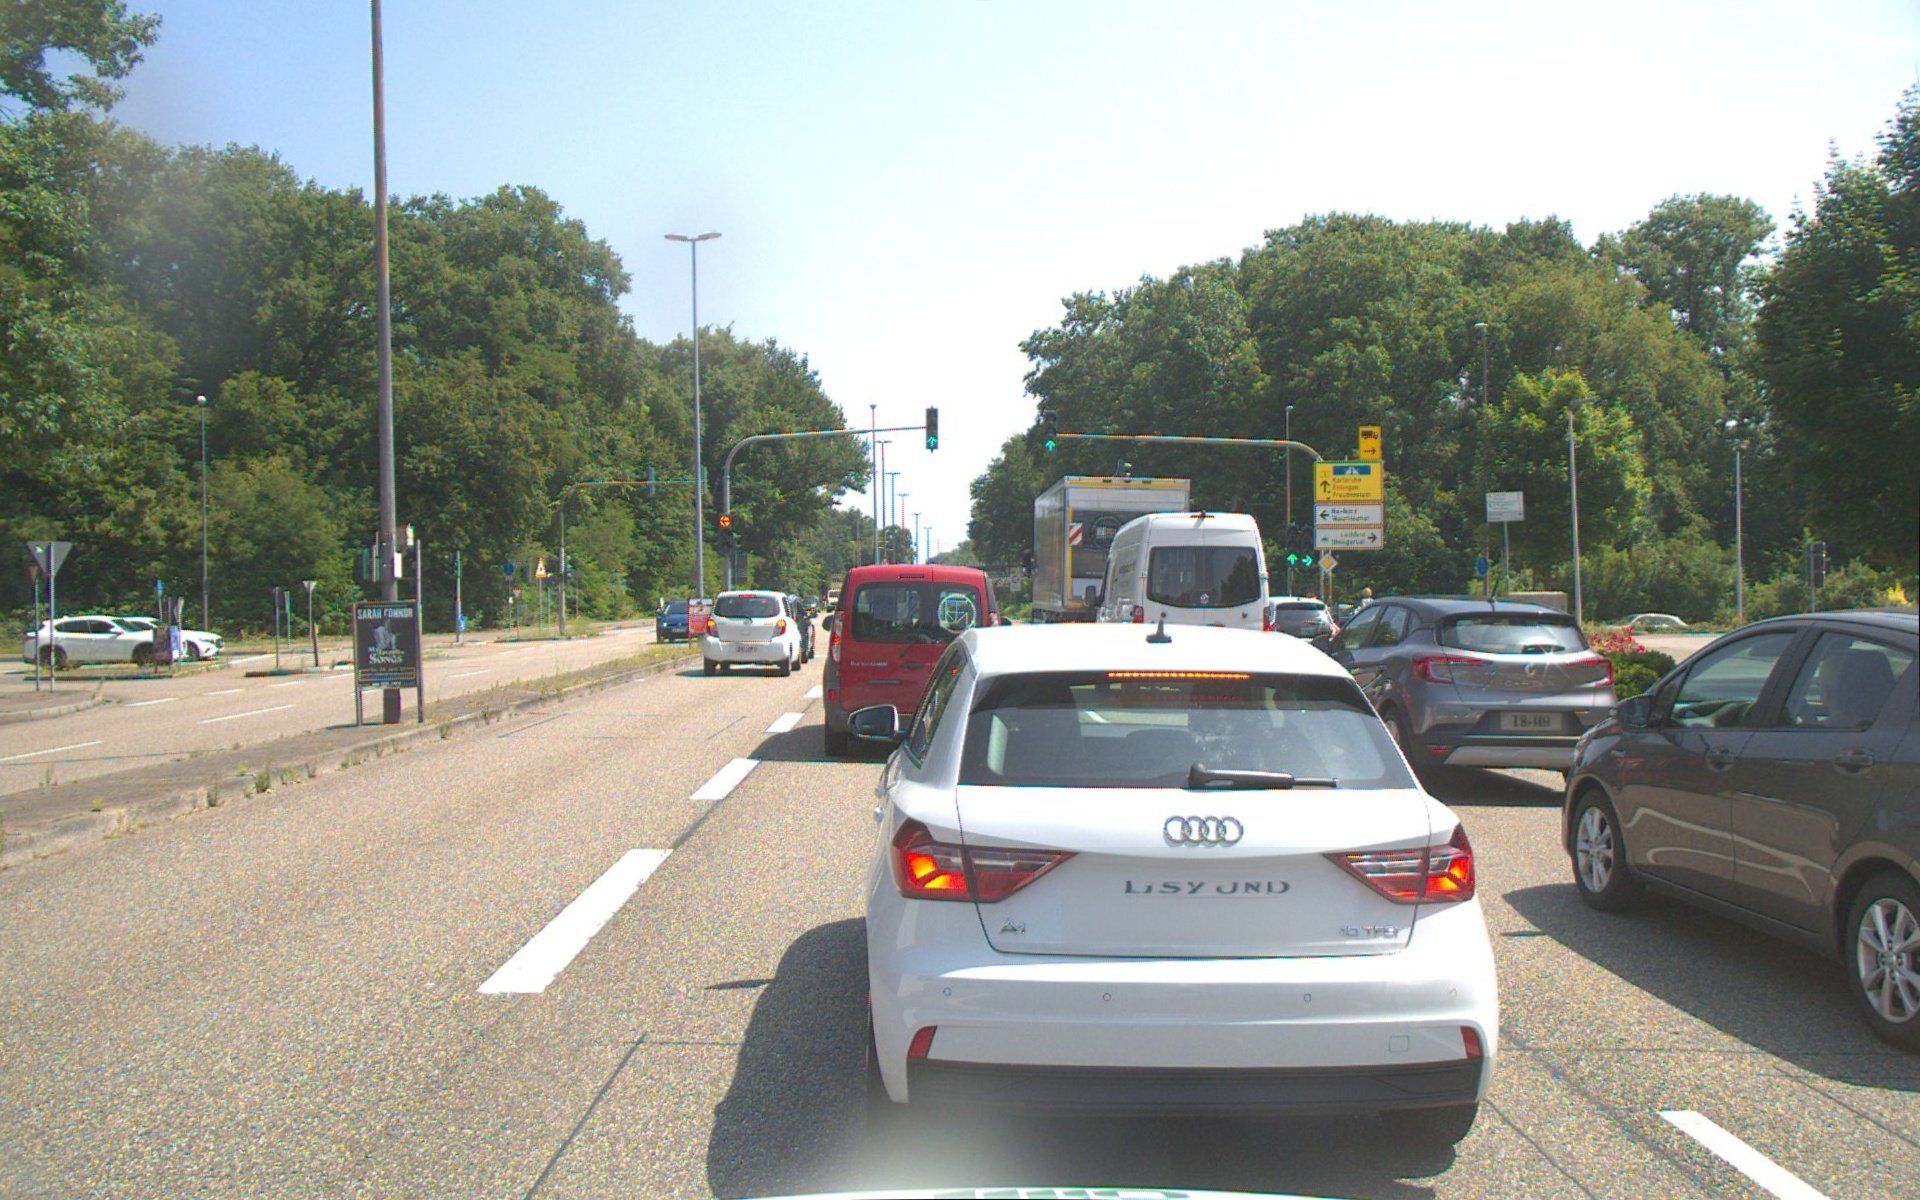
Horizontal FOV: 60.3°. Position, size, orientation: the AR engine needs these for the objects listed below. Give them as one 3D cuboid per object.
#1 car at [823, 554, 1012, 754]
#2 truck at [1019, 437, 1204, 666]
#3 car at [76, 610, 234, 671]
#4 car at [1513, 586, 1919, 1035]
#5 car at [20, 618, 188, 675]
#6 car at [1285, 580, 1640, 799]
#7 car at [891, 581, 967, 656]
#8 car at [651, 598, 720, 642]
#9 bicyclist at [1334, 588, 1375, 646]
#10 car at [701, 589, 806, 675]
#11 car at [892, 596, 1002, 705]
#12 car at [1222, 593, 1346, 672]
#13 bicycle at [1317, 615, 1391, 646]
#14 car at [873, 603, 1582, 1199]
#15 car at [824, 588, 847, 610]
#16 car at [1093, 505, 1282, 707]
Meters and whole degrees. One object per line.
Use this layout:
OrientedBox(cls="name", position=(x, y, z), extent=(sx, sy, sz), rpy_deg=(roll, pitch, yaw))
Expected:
OrientedBox(cls="car", position=(-0.469, 0.478, 16.842), extent=(1.677, 1.779, 4.089), rpy_deg=(0, 0, -3))
OrientedBox(cls="truck", position=(3.226, -0.988, 38.703), extent=(3.026, 4.511, 11.577), rpy_deg=(1, 0, -1))
OrientedBox(cls="car", position=(-27.026, 1.339, 55.645), extent=(4.291, 1.710, 1.807), rpy_deg=(-4, 0, -9))
OrientedBox(cls="car", position=(4.014, 0.742, 7.133), extent=(1.678, 1.504, 4.089), rpy_deg=(3, 0, -3))
OrientedBox(cls="car", position=(-26.763, 1.451, 51.830), extent=(4.290, 1.711, 1.807), rpy_deg=(1, -1, -9))
OrientedBox(cls="car", position=(4.133, 0.658, 14.310), extent=(1.677, 1.621, 4.089), rpy_deg=(0, 0, -3))
OrientedBox(cls="car", position=(-0.770, 0.408, 39.008), extent=(1.677, 1.660, 4.089), rpy_deg=(0, 0, -3))
OrientedBox(cls="car", position=(-9.617, 0.679, 58.242), extent=(1.769, 1.359, 3.999), rpy_deg=(-4, 0, -2))
OrientedBox(cls="bicyclist", position=(10.125, 0.436, 42.446), extent=(0.815, 1.464, 0.595), rpy_deg=(-1, 0, 44))
OrientedBox(cls="car", position=(-3.881, 0.564, 31.608), extent=(1.677, 1.519, 4.089), rpy_deg=(0, 0, -3))
OrientedBox(cls="car", position=(-0.279, 0.770, 27.382), extent=(1.677, 1.660, 4.089), rpy_deg=(0, 0, -3))
OrientedBox(cls="car", position=(6.813, 0.641, 35.146), extent=(1.677, 1.573, 4.089), rpy_deg=(0, 0, -3))
OrientedBox(cls="bicycle", position=(10.111, 0.785, 42.476), extent=(1.796, 0.779, 0.597), rpy_deg=(-1, 0, 45))
OrientedBox(cls="car", position=(0.546, 0.730, 5.922), extent=(1.677, 1.410, 4.089), rpy_deg=(0, 0, -3))
OrientedBox(cls="car", position=(-10.951, -0.054, 146.212), extent=(1.835, 1.893, 3.998), rpy_deg=(-1, 0, -2))
OrientedBox(cls="car", position=(3.231, 0.076, 24.485), extent=(1.990, 2.690, 4.843), rpy_deg=(0, 0, -2))
